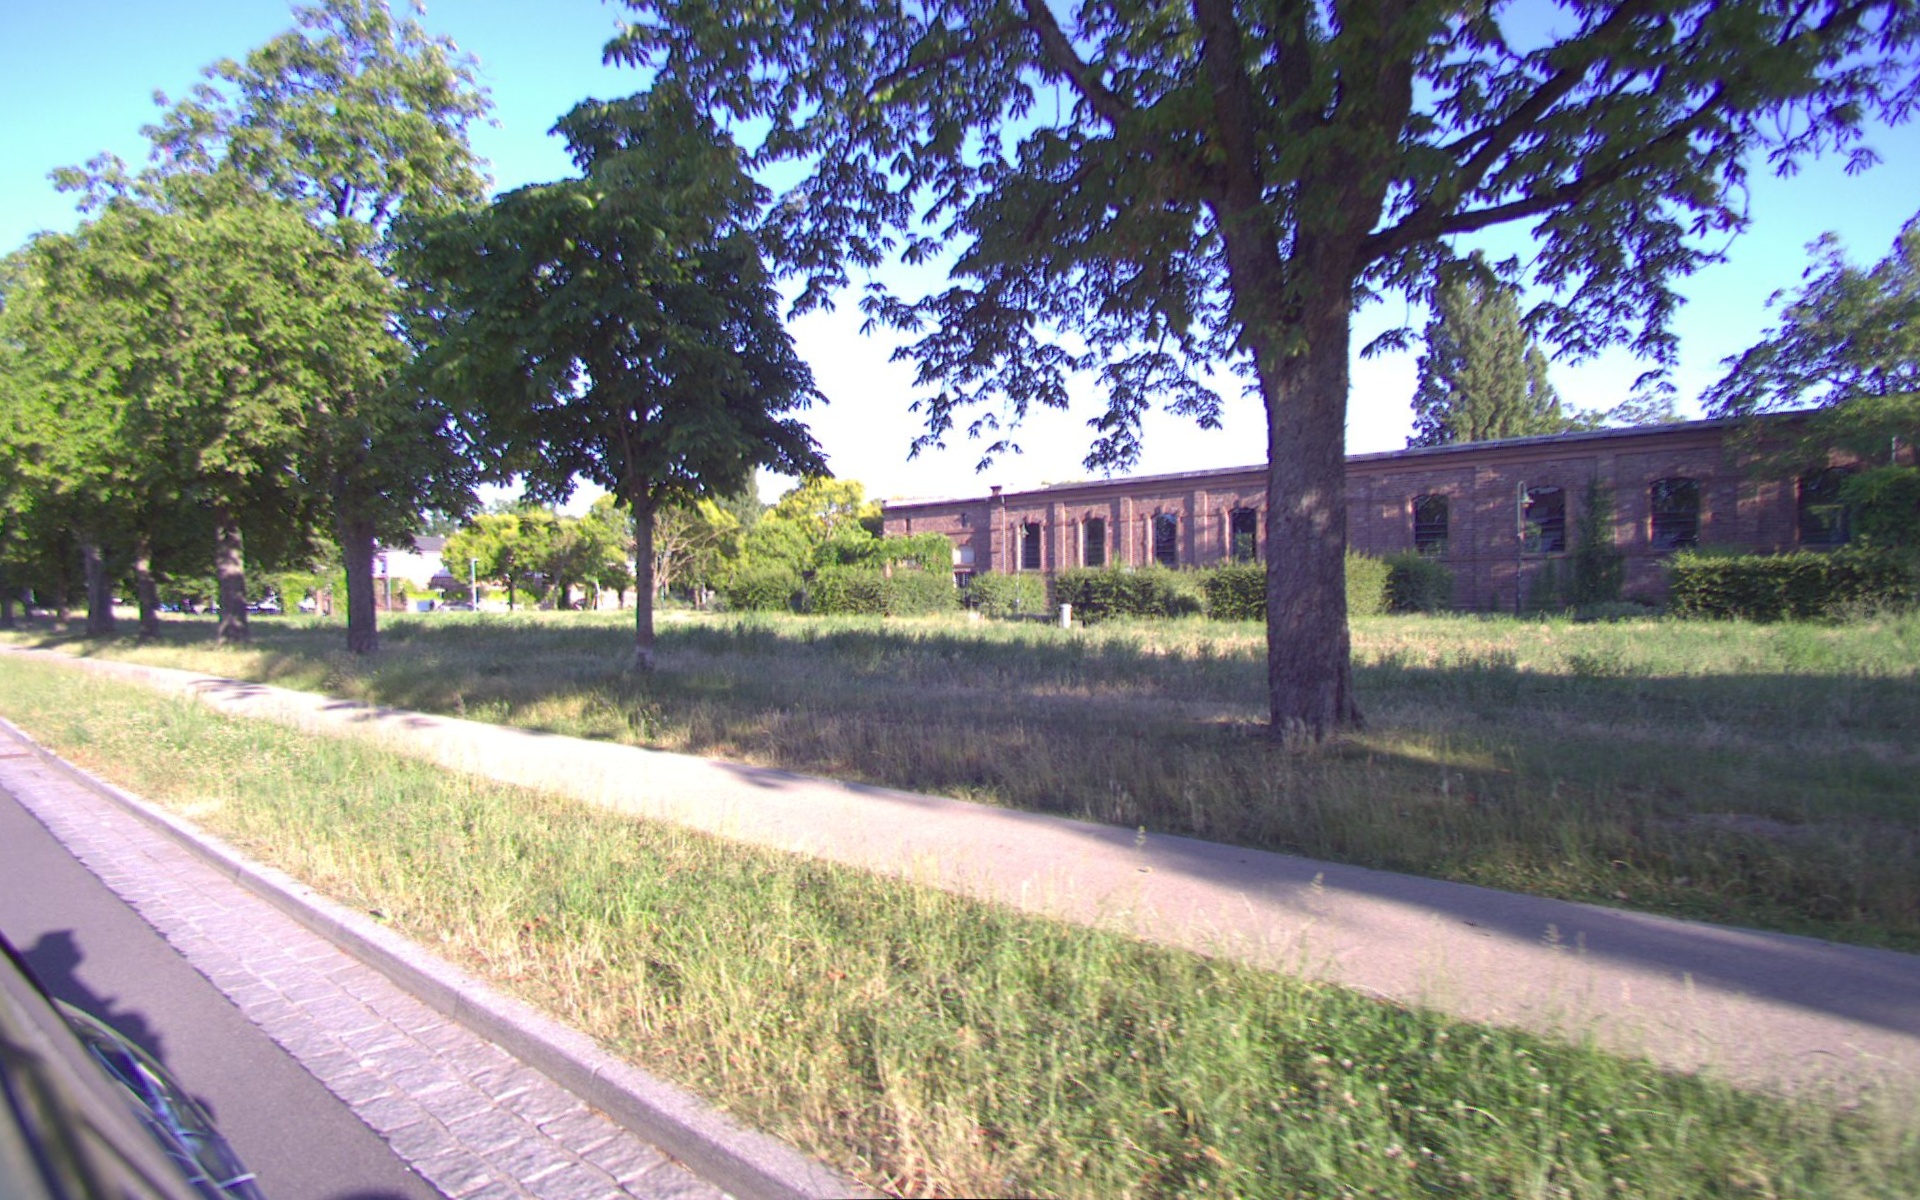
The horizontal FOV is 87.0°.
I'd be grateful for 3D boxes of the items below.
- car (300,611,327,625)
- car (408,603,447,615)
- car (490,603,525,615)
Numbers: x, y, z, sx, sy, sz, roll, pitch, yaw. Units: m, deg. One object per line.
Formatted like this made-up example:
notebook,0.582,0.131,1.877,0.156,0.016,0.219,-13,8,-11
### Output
car,-80.762,2.269,126.449,3.998,1.641,1.744,-1,1,41
car,-61.138,1.027,116.188,1.586,1.289,3.589,0,2,42
car,-55.533,1.065,124.347,1.586,1.289,3.589,0,2,42
